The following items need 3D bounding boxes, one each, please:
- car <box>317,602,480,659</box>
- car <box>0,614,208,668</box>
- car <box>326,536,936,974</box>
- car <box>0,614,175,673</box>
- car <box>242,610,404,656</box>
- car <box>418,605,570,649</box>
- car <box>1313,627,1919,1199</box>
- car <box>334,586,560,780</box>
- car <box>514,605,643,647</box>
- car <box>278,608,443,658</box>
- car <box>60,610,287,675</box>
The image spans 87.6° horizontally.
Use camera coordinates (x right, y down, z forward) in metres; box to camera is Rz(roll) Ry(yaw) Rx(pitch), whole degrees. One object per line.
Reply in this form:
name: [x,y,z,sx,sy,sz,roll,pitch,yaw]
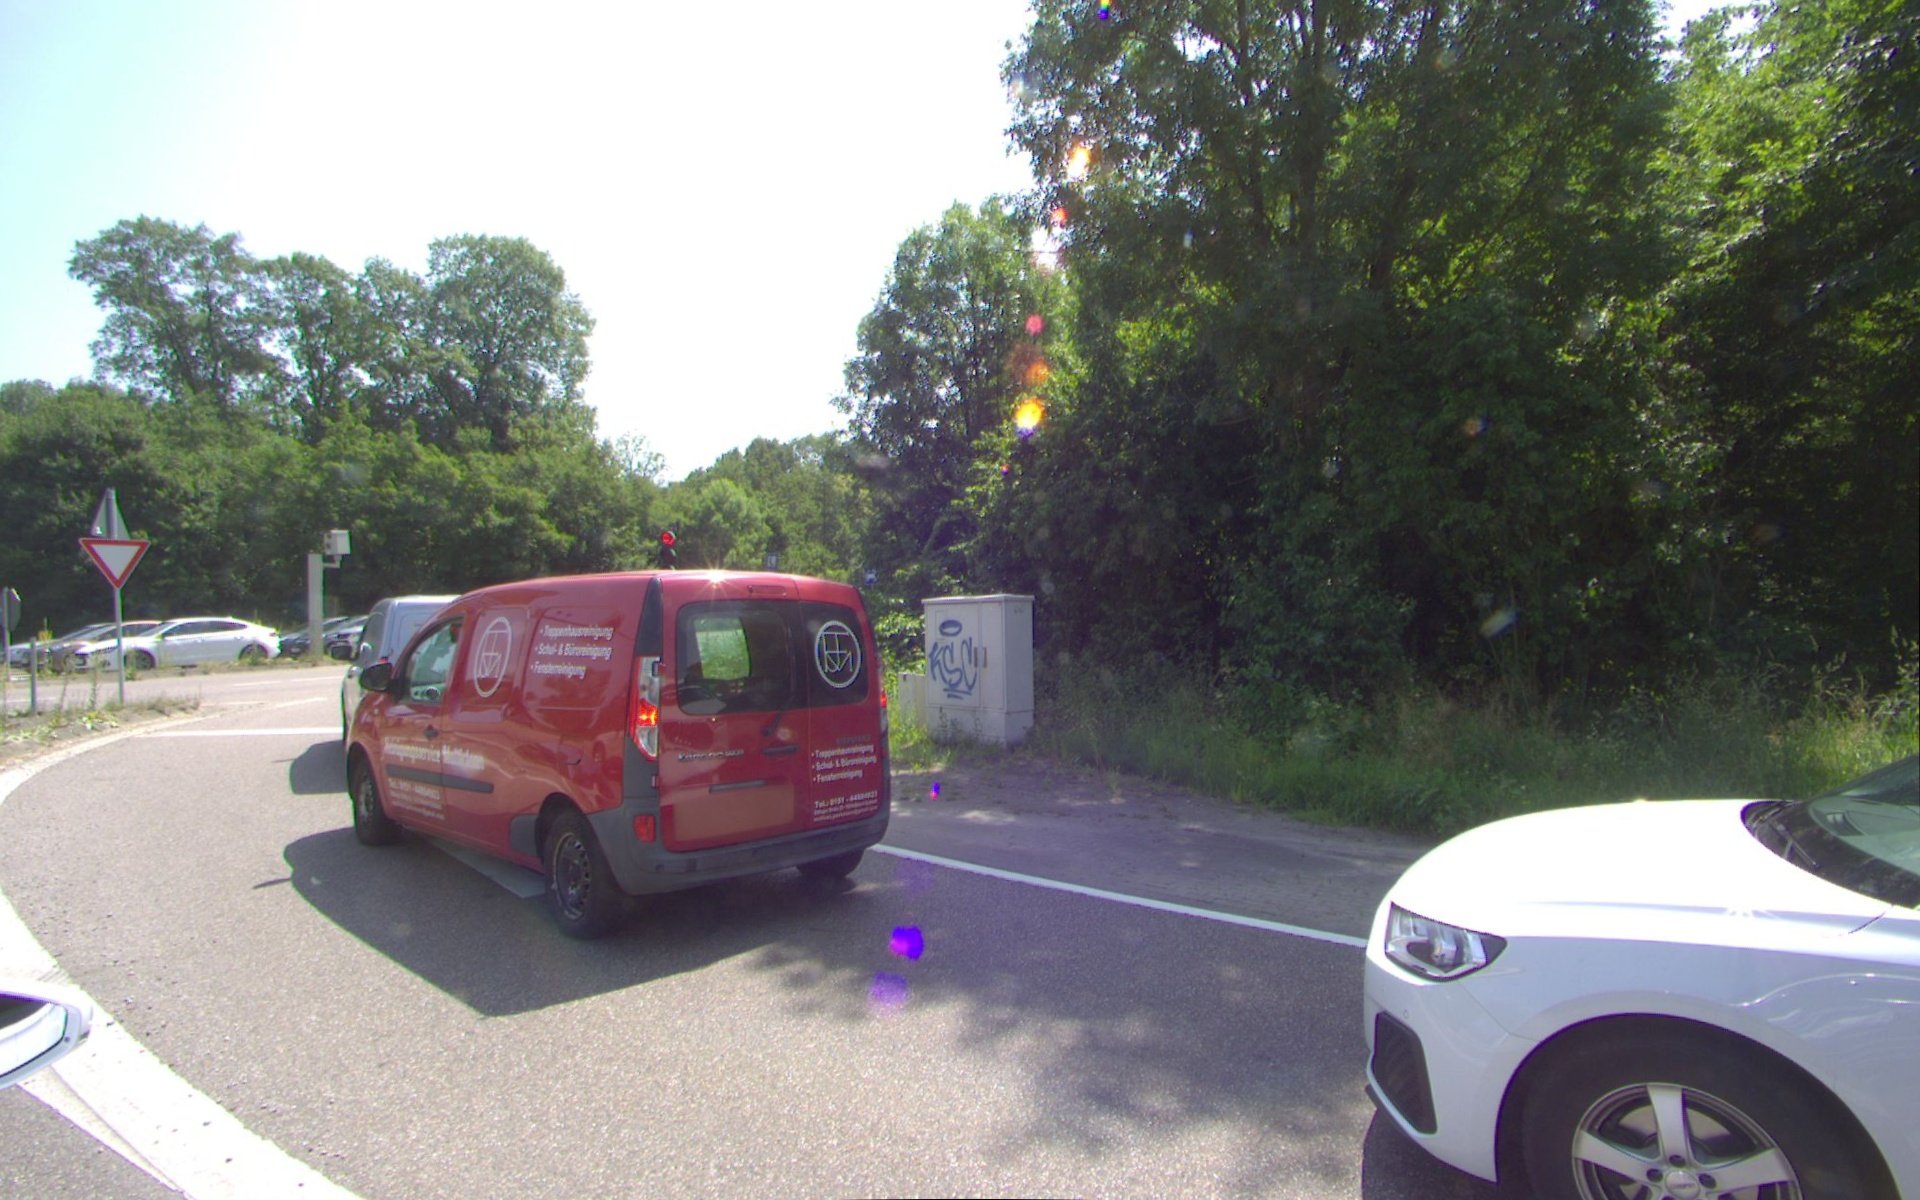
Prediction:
car: [-18.143,0.942,32.534,1.971,1.681,4.164,-1,0,31]
car: [-27.003,1.247,31.527,1.992,1.518,4.922,-2,-1,32]
car: [-2.359,0.702,6.405,4.447,1.846,1.782,-1,-2,43]
car: [-24.924,1.178,28.134,1.965,1.466,4.086,-1,0,29]
car: [-23.330,1.191,36.856,2.082,1.518,4.608,-1,0,31]
car: [-18.264,1.032,39.527,2.107,1.554,5.118,-2,0,31]
car: [2.977,0.805,2.086,3.946,1.453,1.686,-1,-3,35]
car: [-5.998,0.791,11.450,1.740,1.797,4.084,0,0,-35]
car: [-14.508,0.959,38.286,1.946,1.433,4.321,-1,0,32]
car: [-20.516,1.086,34.449,2.091,1.555,4.411,-2,0,31]
car: [-21.115,1.085,27.097,1.970,1.555,4.413,-1,0,30]
